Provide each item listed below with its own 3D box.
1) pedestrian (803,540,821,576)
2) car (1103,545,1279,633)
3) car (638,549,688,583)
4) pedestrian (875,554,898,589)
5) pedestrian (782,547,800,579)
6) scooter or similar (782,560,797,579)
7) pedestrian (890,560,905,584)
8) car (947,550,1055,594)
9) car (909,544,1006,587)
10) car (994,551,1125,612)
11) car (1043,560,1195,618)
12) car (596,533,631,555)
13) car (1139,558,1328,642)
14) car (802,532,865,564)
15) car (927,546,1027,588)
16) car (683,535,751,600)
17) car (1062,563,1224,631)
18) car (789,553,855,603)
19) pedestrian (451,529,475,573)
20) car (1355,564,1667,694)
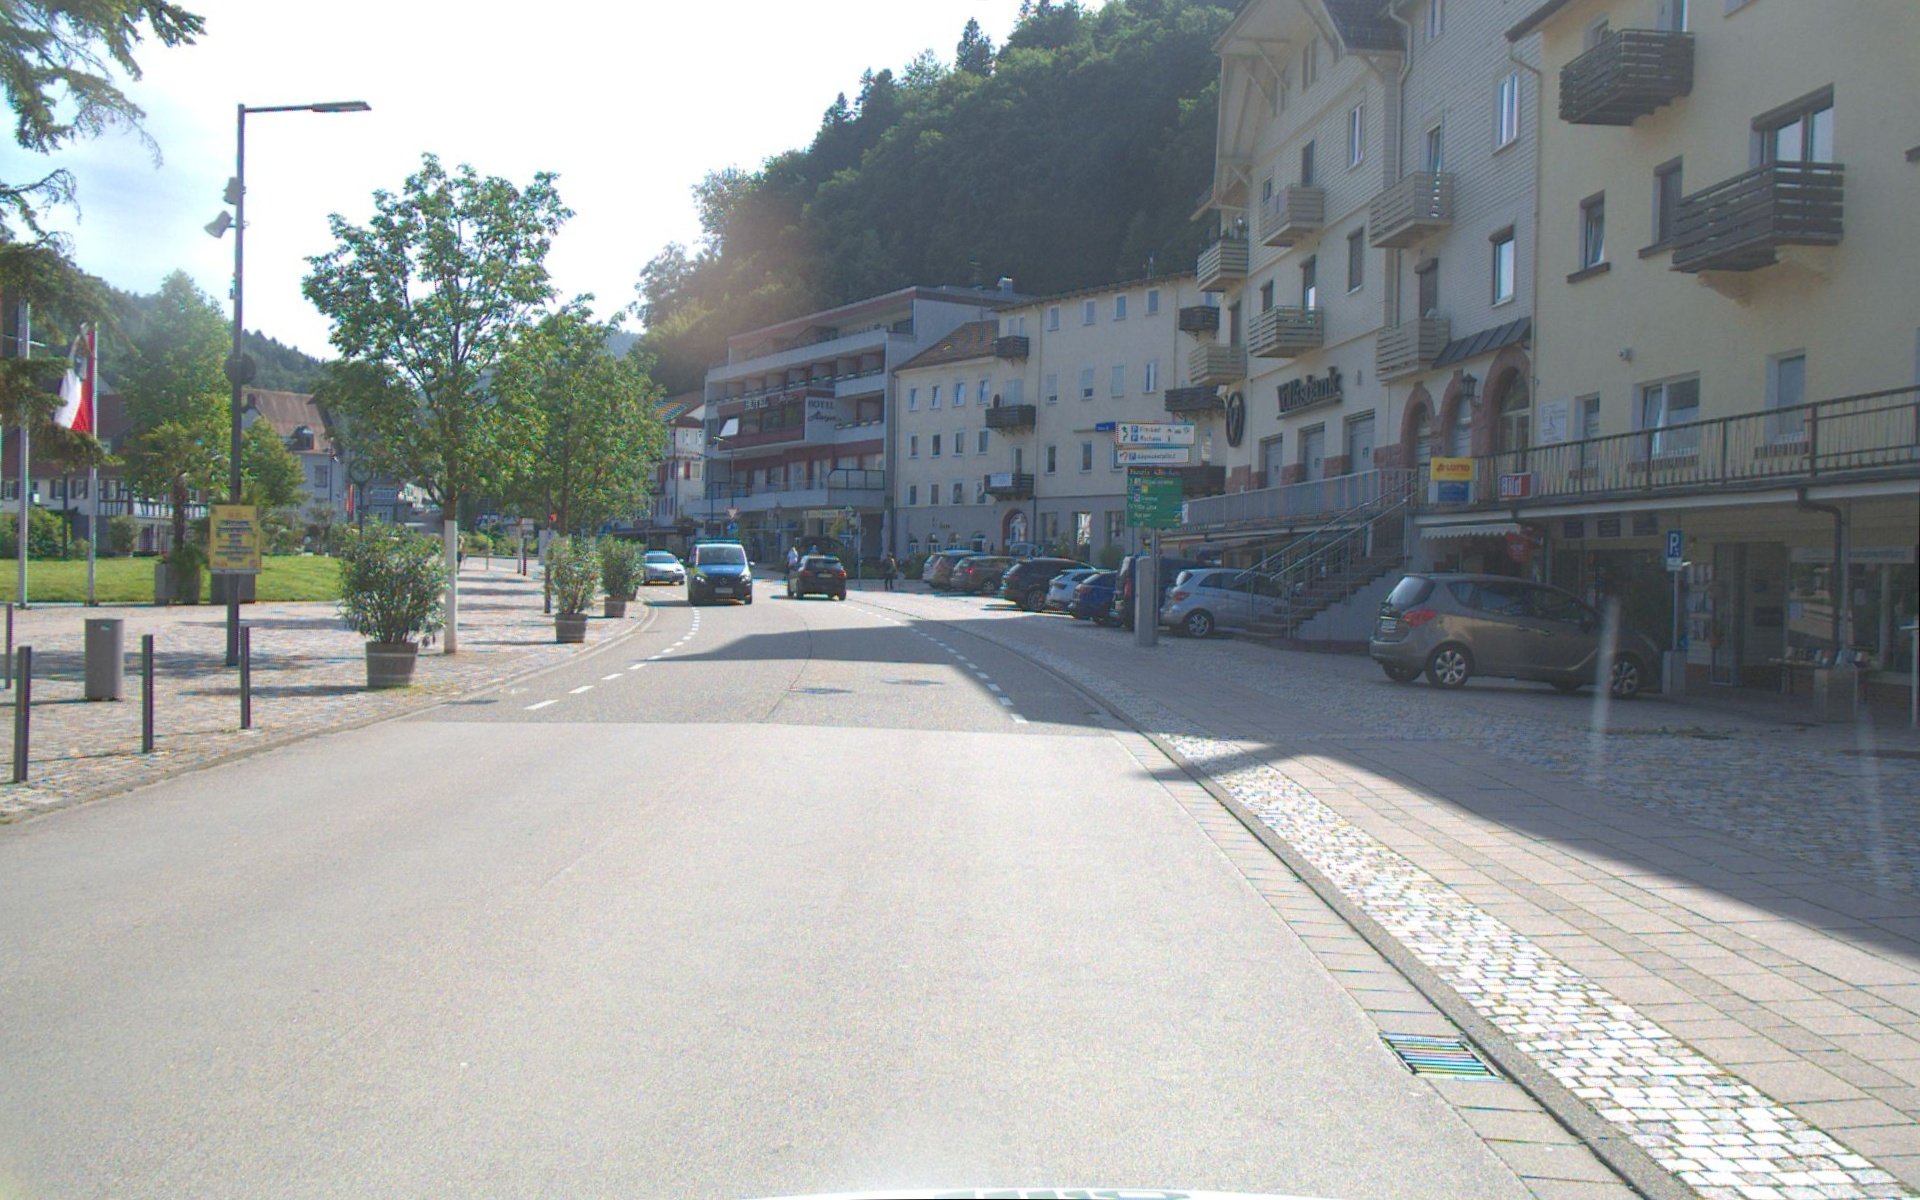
[{"bbox_3d":[-7.498,-2.119,83.590,0.661,1.758,0.701,1,1,-27],"label":"pedestrian"},{"bbox_3d":[5.565,-0.271,40.161,3.834,1.835,1.856,4,0,-5],"label":"car"},{"bbox_3d":[-12.860,-1.492,71.530,1.602,1.394,4.043,-1,2,-18],"label":"car"},{"bbox_3d":[-3.132,-1.226,70.449,0.729,1.467,0.625,-2,2,-35],"label":"pedestrian"},{"bbox_3d":[-8.563,-1.874,83.807,0.748,1.621,0.622,1,1,-28],"label":"pedestrian"},{"bbox_3d":[-8.651,-1.538,83.975,0.589,0.967,0.470,1,1,-28],"label":"scooter or similar"},{"bbox_3d":[-2.665,-1.214,70.746,0.414,1.019,0.524,-2,2,-36],"label":"pedestrian"},{"bbox_3d":[1.631,-1.141,65.961,3.959,1.542,1.759,-3,4,-25],"label":"car"},{"bbox_3d":[-0.091,-1.505,71.344,3.813,1.640,1.759,-3,4,-25],"label":"car"},{"bbox_3d":[3.225,-0.611,54.244,4.005,1.694,1.771,4,1,-5],"label":"car"},{"bbox_3d":[4.707,-0.322,49.382,4.269,1.486,1.772,3,0,-3],"label":"car"},{"bbox_3d":[-27.953,-4.528,133.191,1.658,1.648,3.962,1,2,-29],"label":"car"},{"bbox_3d":[6.141,-0.012,37.422,3.833,1.616,1.773,3,2,-5],"label":"car"},{"bbox_3d":[-7.054,-2.915,92.006,3.124,1.691,1.582,1,2,-26],"label":"car"},{"bbox_3d":[0.720,-1.405,69.221,3.813,1.576,1.759,-3,4,-25],"label":"car"},{"bbox_3d":[-7.865,-1.054,53.295,1.822,1.987,5.002,-1,1,-12],"label":"car"},{"bbox_3d":[4.705,-0.099,42.828,3.833,1.486,1.735,3,1,-5],"label":"car"},{"bbox_3d":[-5.060,-0.808,60.217,1.699,1.601,3.738,1,3,-16],"label":"car"},{"bbox_3d":[-21.078,-2.074,70.185,0.856,1.846,0.685,1,1,-27],"label":"pedestrian"},{"bbox_3d":[7.826,0.394,23.676,3.787,1.581,1.758,3,1,-8],"label":"car"}]
